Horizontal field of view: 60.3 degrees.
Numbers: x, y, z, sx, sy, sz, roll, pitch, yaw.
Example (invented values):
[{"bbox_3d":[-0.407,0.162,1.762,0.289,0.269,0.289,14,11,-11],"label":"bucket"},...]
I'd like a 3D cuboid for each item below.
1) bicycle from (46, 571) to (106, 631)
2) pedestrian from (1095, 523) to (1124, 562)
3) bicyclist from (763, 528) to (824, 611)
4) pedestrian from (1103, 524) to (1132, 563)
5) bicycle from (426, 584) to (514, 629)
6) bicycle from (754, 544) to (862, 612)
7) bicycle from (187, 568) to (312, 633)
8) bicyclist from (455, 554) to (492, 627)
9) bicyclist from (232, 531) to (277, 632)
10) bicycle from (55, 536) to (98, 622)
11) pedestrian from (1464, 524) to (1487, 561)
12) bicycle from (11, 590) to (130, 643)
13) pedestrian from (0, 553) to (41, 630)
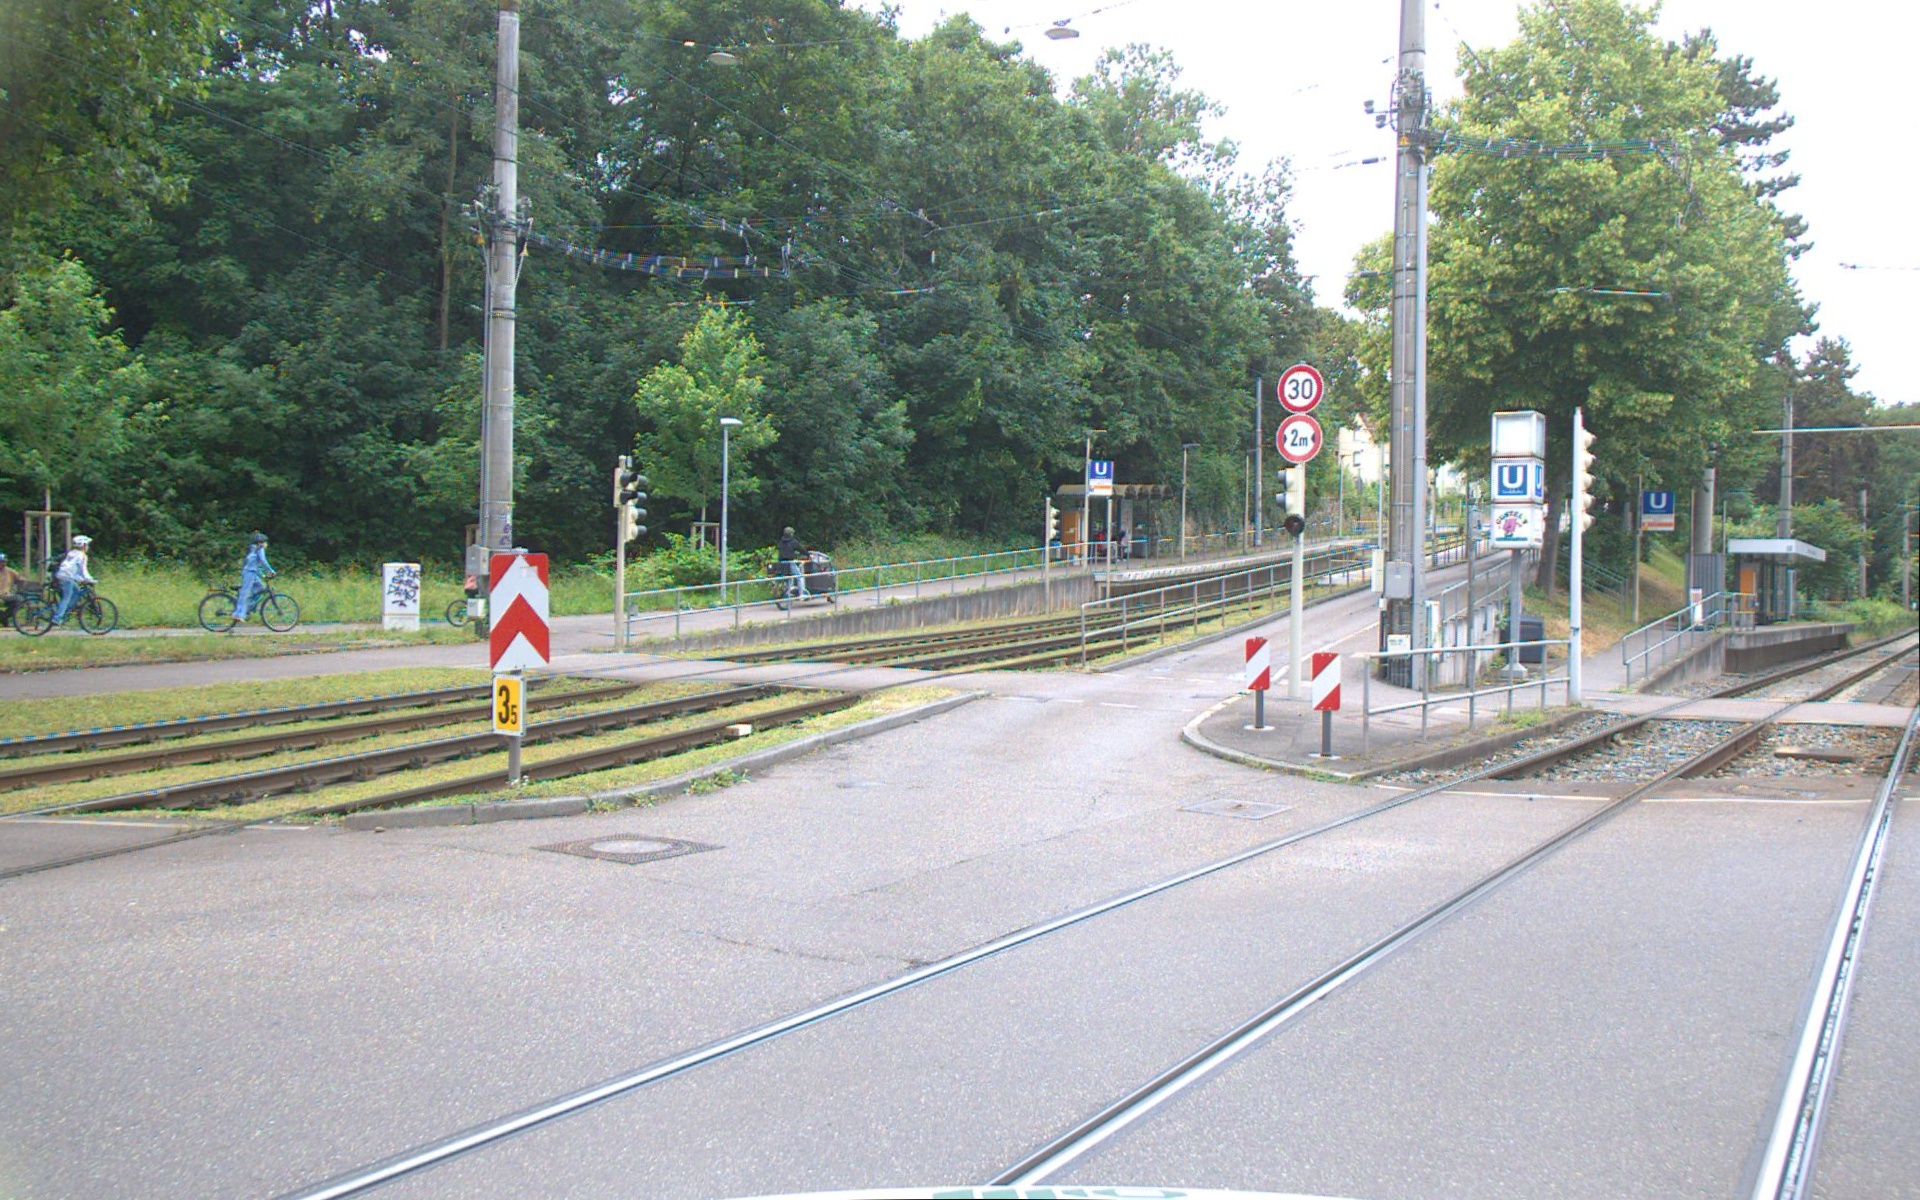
[{"bbox_3d":[-15.462,0.009,28.897,0.616,0.900,1.723,2,2,-38],"label":"bicycle"},{"bbox_3d":[5.413,-2.104,59.964,0.756,1.348,0.787,4,4,24],"label":"pedestrian"},{"bbox_3d":[-3.695,-0.694,36.752,0.719,1.740,1.291,4,6,27],"label":"bicyclist"},{"bbox_3d":[5.825,-2.080,61.070,0.756,1.349,0.786,4,2,24],"label":"pedestrian"},{"bbox_3d":[-9.237,0.115,31.205,1.539,0.751,0.450,-2,7,-32],"label":"bicycle"},{"bbox_3d":[-3.392,-0.525,37.360,0.719,1.311,3.344,4,6,27],"label":"bicycle"},{"bbox_3d":[-12.258,0.003,28.571,1.920,1.059,0.470,0,4,-33],"label":"bicycle"},{"bbox_3d":[-9.174,-0.180,31.216,0.574,1.323,0.450,-2,6,-32],"label":"bicyclist"},{"bbox_3d":[-12.197,-0.321,28.581,0.616,1.703,0.470,0,4,-33],"label":"bicyclist"},{"bbox_3d":[-14.260,-0.348,26.684,0.512,1.352,0.448,-2,6,-44],"label":"bicycle"},{"bbox_3d":[21.043,-2.360,67.488,0.727,1.433,0.747,4,6,24],"label":"pedestrian"},{"bbox_3d":[-14.330,0.254,26.679,1.640,0.751,0.448,-2,6,-45],"label":"bicycle"},{"bbox_3d":[-16.057,-0.141,28.041,0.668,1.256,0.571,2,2,-45],"label":"pedestrian"}]
